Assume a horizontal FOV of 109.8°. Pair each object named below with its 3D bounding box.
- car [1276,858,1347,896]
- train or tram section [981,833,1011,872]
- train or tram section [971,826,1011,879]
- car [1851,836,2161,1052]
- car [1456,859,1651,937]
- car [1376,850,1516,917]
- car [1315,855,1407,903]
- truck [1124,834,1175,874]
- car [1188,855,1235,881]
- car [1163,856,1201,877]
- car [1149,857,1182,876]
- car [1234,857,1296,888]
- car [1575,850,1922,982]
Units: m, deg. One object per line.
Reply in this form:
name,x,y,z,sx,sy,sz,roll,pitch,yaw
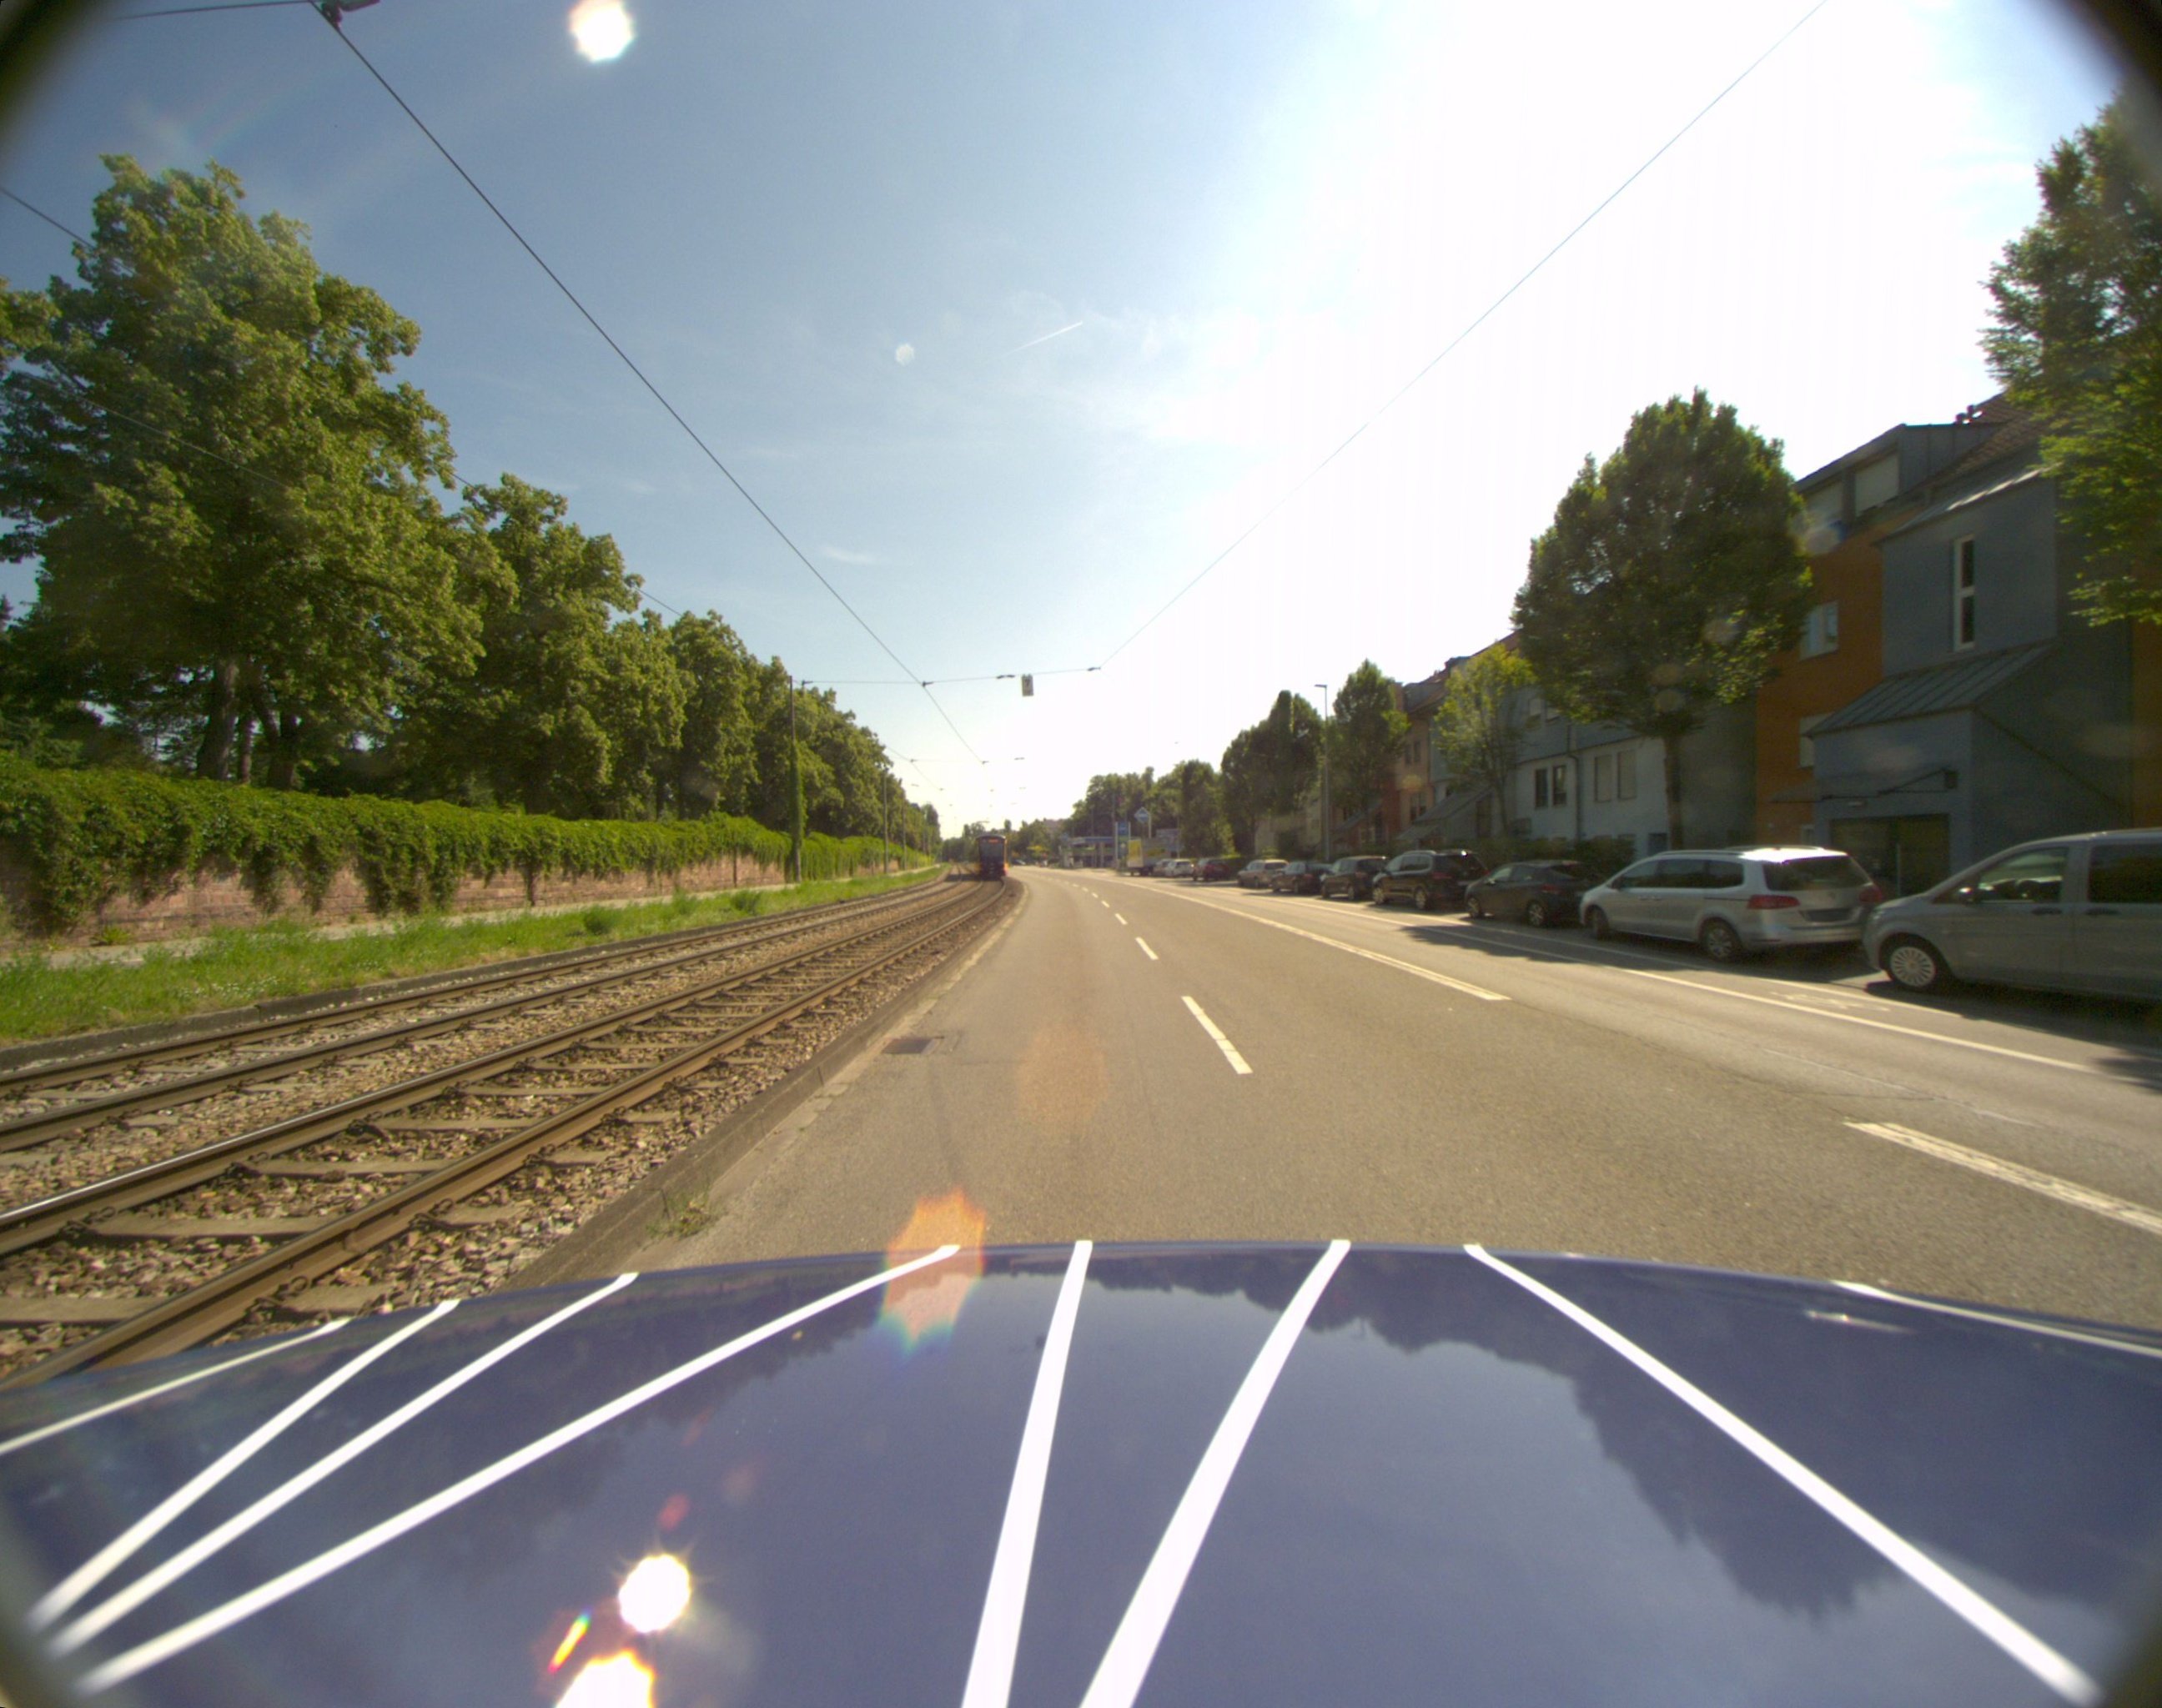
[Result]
car,10.212,0.975,34.019,1.681,1.462,4.212,-2,0,-3
train or tram section,-9.103,-0.125,83.048,2.722,3.716,18.869,-2,0,-5
train or tram section,-7.378,-0.092,64.250,2.722,3.716,18.869,-2,0,-5
car,10.832,0.806,7.187,1.998,1.855,4.967,-5,0,1
car,10.914,0.937,17.952,1.871,1.447,4.074,-4,0,-3
car,10.662,0.777,22.587,1.834,1.718,4.348,-3,0,-3
car,10.367,0.872,28.453,1.681,1.598,4.164,-2,0,-3
truck,6.371,0.037,72.261,3.165,3.533,8.780,-1,0,-6
car,8.924,0.919,52.234,1.911,1.567,4.929,-2,0,-6
car,7.909,0.950,59.957,2.040,1.490,4.130,-2,0,-6
car,7.178,1.032,64.928,1.915,1.469,4.213,-2,0,-6
car,9.822,0.948,40.955,1.682,1.437,4.835,-2,0,-6
car,10.714,0.848,12.791,1.852,1.693,4.540,-4,0,1
